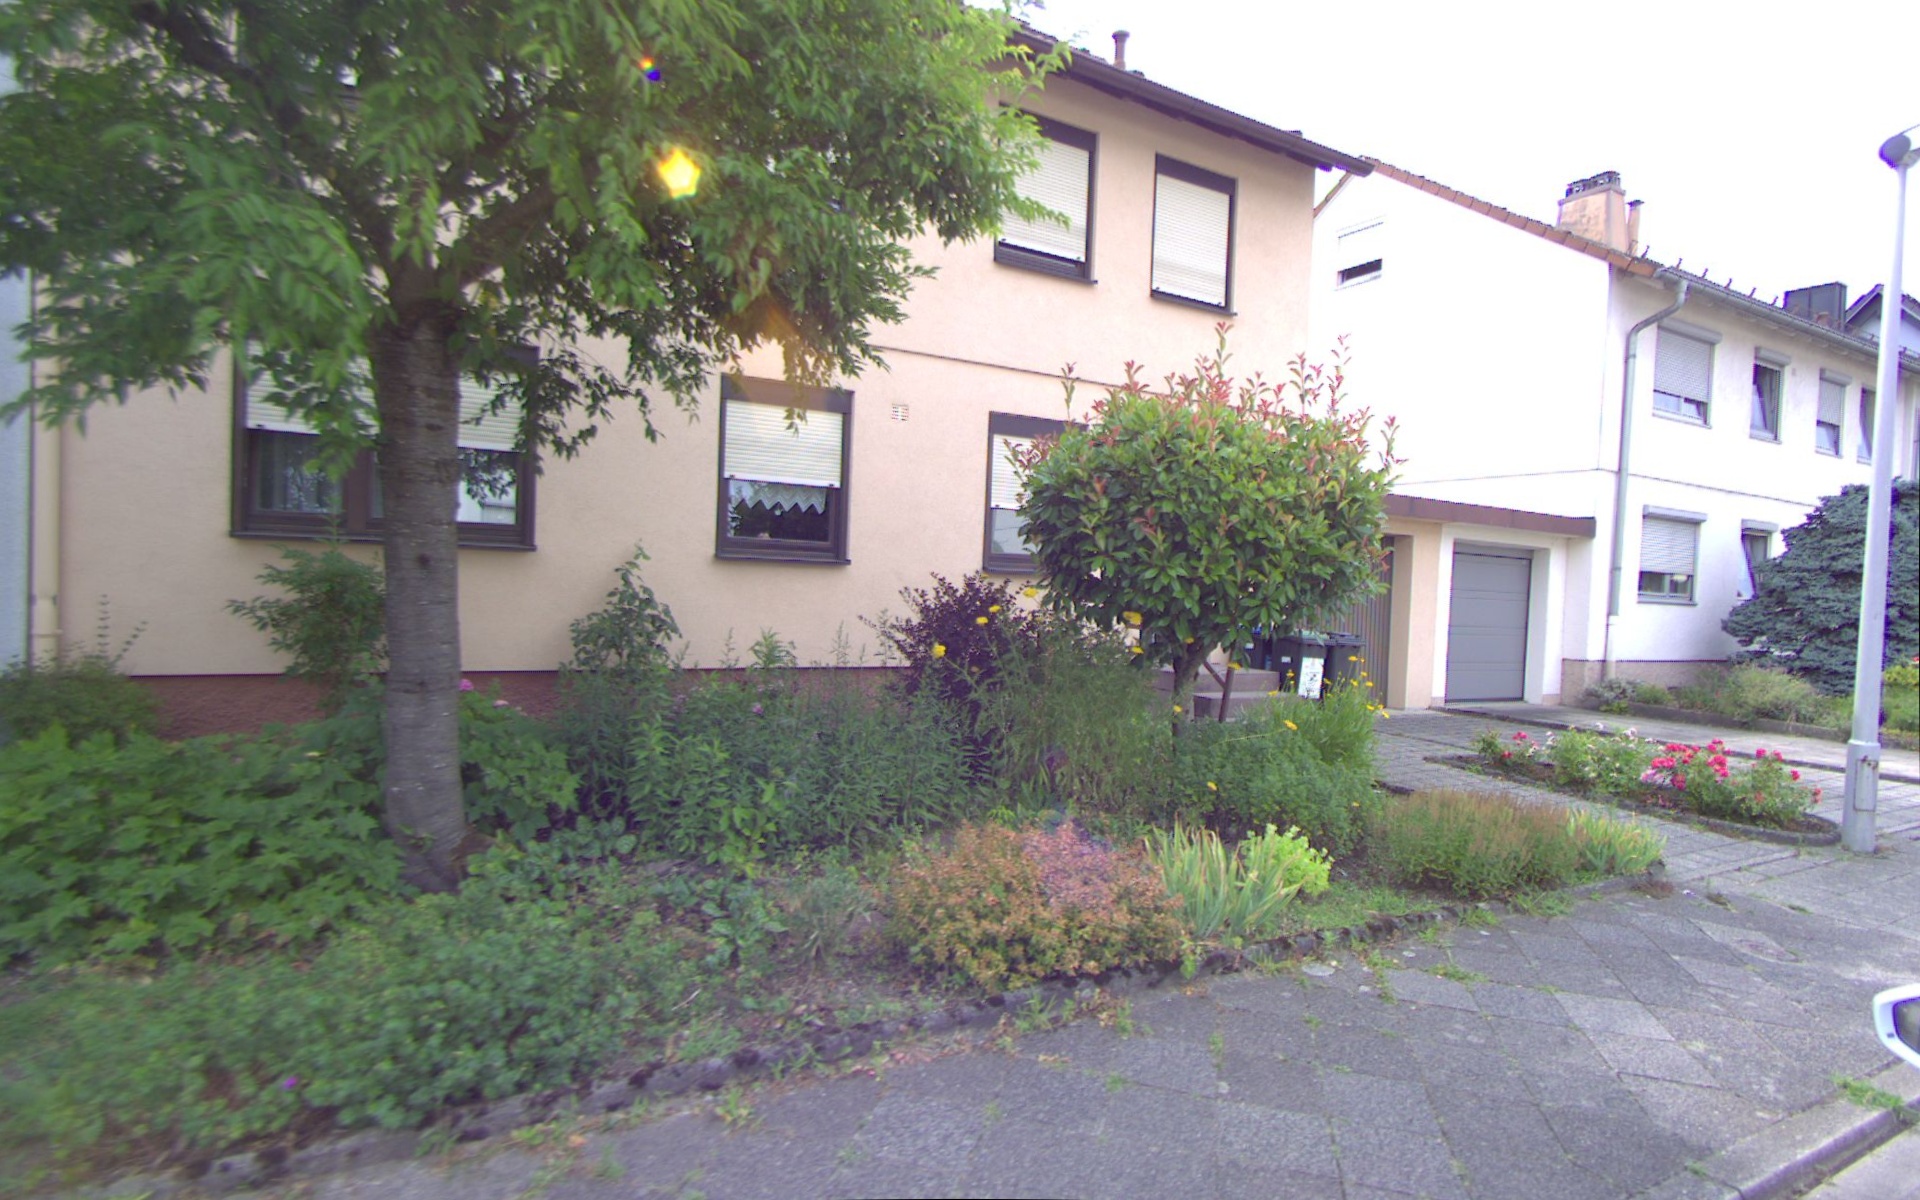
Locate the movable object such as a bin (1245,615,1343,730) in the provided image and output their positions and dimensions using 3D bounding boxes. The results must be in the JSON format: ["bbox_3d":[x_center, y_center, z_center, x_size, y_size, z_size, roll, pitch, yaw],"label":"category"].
[{"bbox_3d":[3.209,0.683,9.676,0.535,1.016,0.649,1,3,-30],"label":"movable object such as a bin"}]

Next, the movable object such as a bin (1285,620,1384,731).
[{"bbox_3d":[3.714,0.729,9.986,0.625,1.035,0.649,1,1,-30],"label":"movable object such as a bin"}]
